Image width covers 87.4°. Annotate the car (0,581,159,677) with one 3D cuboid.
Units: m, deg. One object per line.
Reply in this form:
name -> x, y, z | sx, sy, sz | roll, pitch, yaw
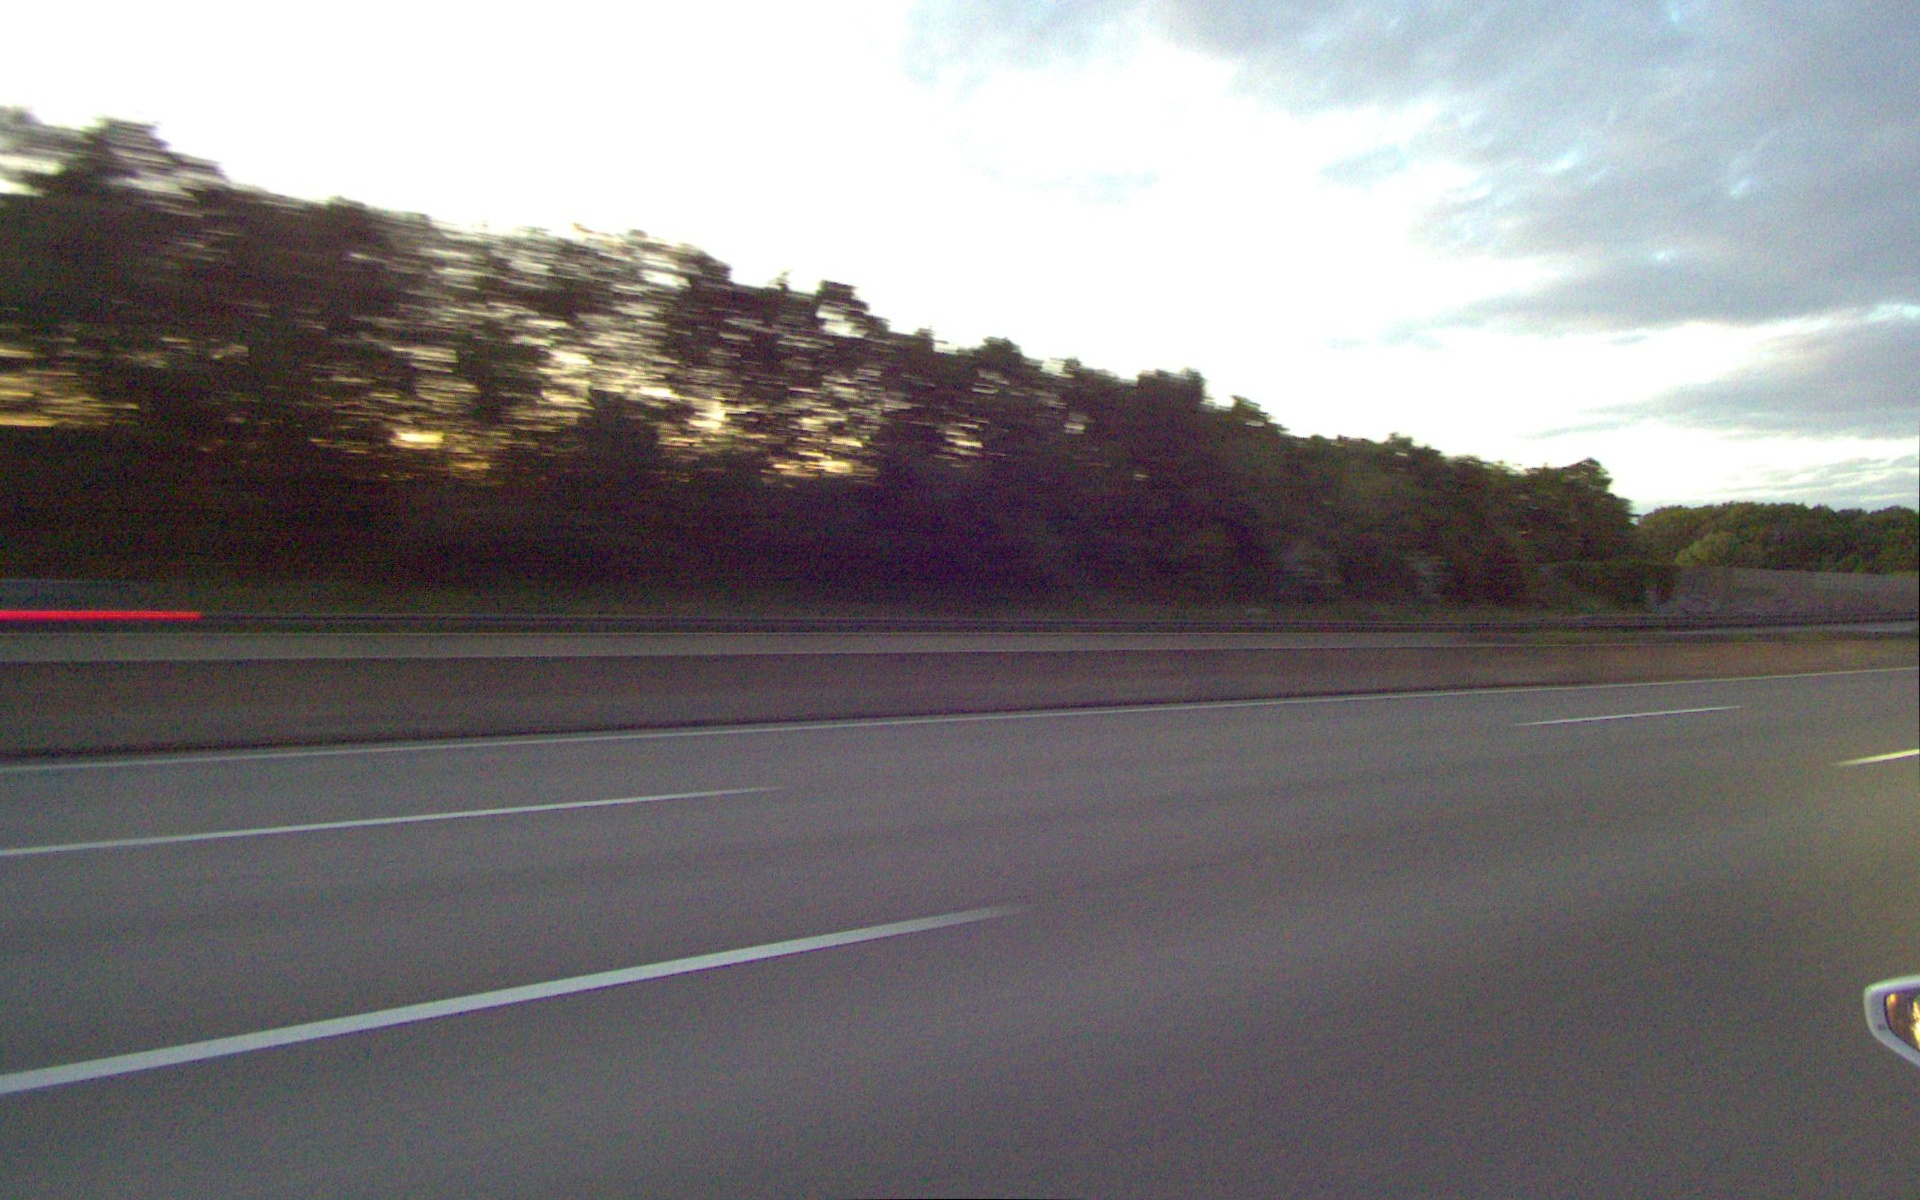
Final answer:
car -> -15.571, 0.423, 15.981 | 4.103, 1.438, 1.984 | 2, 0, -30
